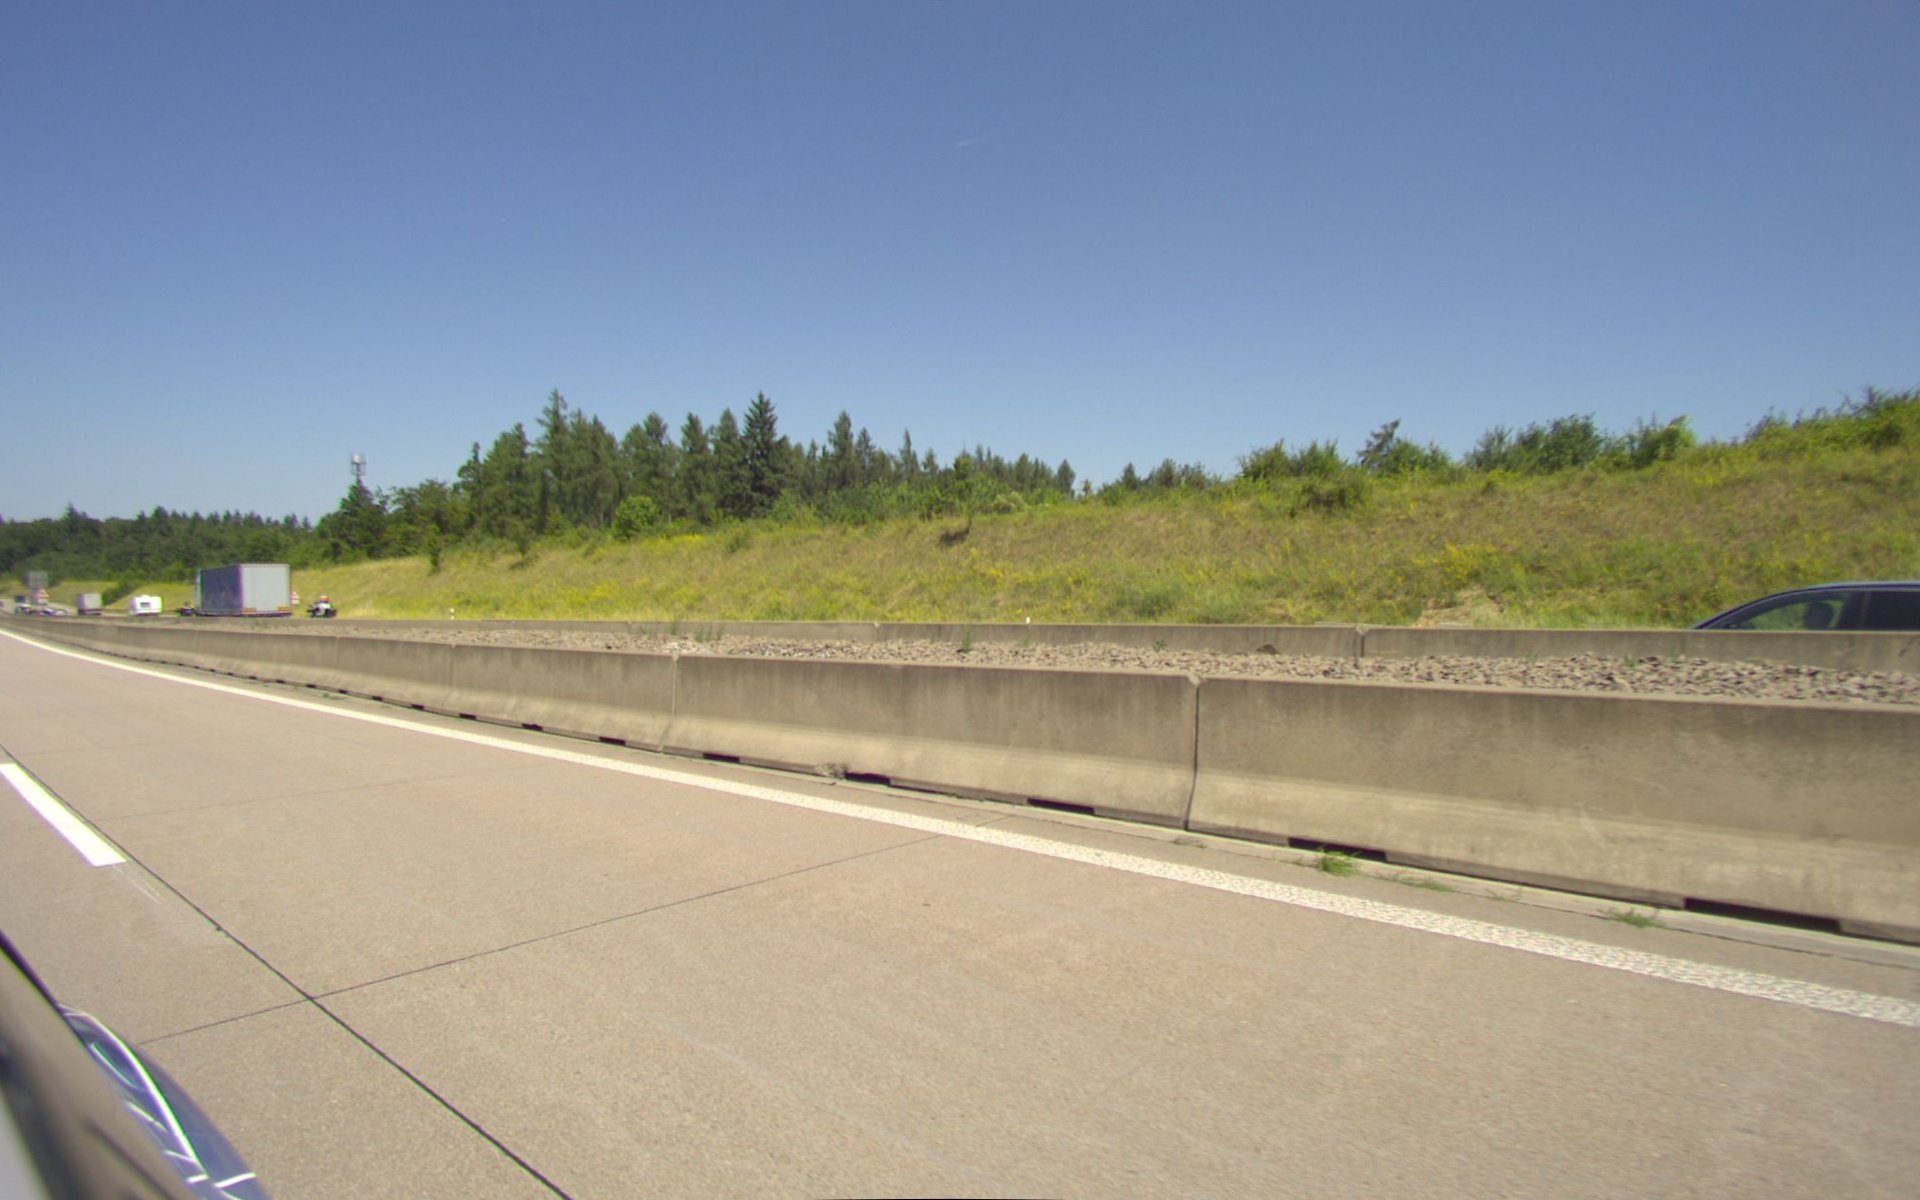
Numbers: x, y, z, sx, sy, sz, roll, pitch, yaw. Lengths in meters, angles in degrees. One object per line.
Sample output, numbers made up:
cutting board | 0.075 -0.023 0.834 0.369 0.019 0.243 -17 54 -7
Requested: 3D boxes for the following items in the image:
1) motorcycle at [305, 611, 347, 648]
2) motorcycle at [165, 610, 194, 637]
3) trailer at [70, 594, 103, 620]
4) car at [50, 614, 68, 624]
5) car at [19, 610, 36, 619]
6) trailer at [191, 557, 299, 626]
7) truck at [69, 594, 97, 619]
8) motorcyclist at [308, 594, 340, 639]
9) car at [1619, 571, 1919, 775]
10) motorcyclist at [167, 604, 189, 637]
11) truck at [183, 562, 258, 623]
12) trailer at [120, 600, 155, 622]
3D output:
motorcycle | -24.805 1.148 39.580 2.358 1.382 0.815 -1 0 43
motorcycle | -46.068 1.360 59.701 2.484 1.561 0.997 -1 0 43
trailer | -158.638 1.177 183.825 13.931 4.464 3.349 0 2 45
car | -153.599 3.263 172.507 4.501 1.570 1.971 -1 1 45
car | -165.903 2.576 180.022 4.501 1.570 1.971 -1 1 45
trailer | -45.840 -0.532 64.609 13.873 3.961 3.126 0 2 45
truck | -163.566 1.187 188.740 6.804 4.464 3.349 0 2 45
motorcyclist | -24.853 0.649 39.530 1.525 1.722 0.685 -1 0 43
car | 8.171 0.569 8.667 3.998 1.597 1.973 -1 0 41
motorcyclist | -46.268 1.209 59.854 1.492 1.888 0.809 -1 0 43
truck | -50.999 -0.501 69.736 5.839 3.961 3.126 0 2 45
trailer | -103.079 1.370 126.853 7.785 2.651 2.577 -1 1 45
